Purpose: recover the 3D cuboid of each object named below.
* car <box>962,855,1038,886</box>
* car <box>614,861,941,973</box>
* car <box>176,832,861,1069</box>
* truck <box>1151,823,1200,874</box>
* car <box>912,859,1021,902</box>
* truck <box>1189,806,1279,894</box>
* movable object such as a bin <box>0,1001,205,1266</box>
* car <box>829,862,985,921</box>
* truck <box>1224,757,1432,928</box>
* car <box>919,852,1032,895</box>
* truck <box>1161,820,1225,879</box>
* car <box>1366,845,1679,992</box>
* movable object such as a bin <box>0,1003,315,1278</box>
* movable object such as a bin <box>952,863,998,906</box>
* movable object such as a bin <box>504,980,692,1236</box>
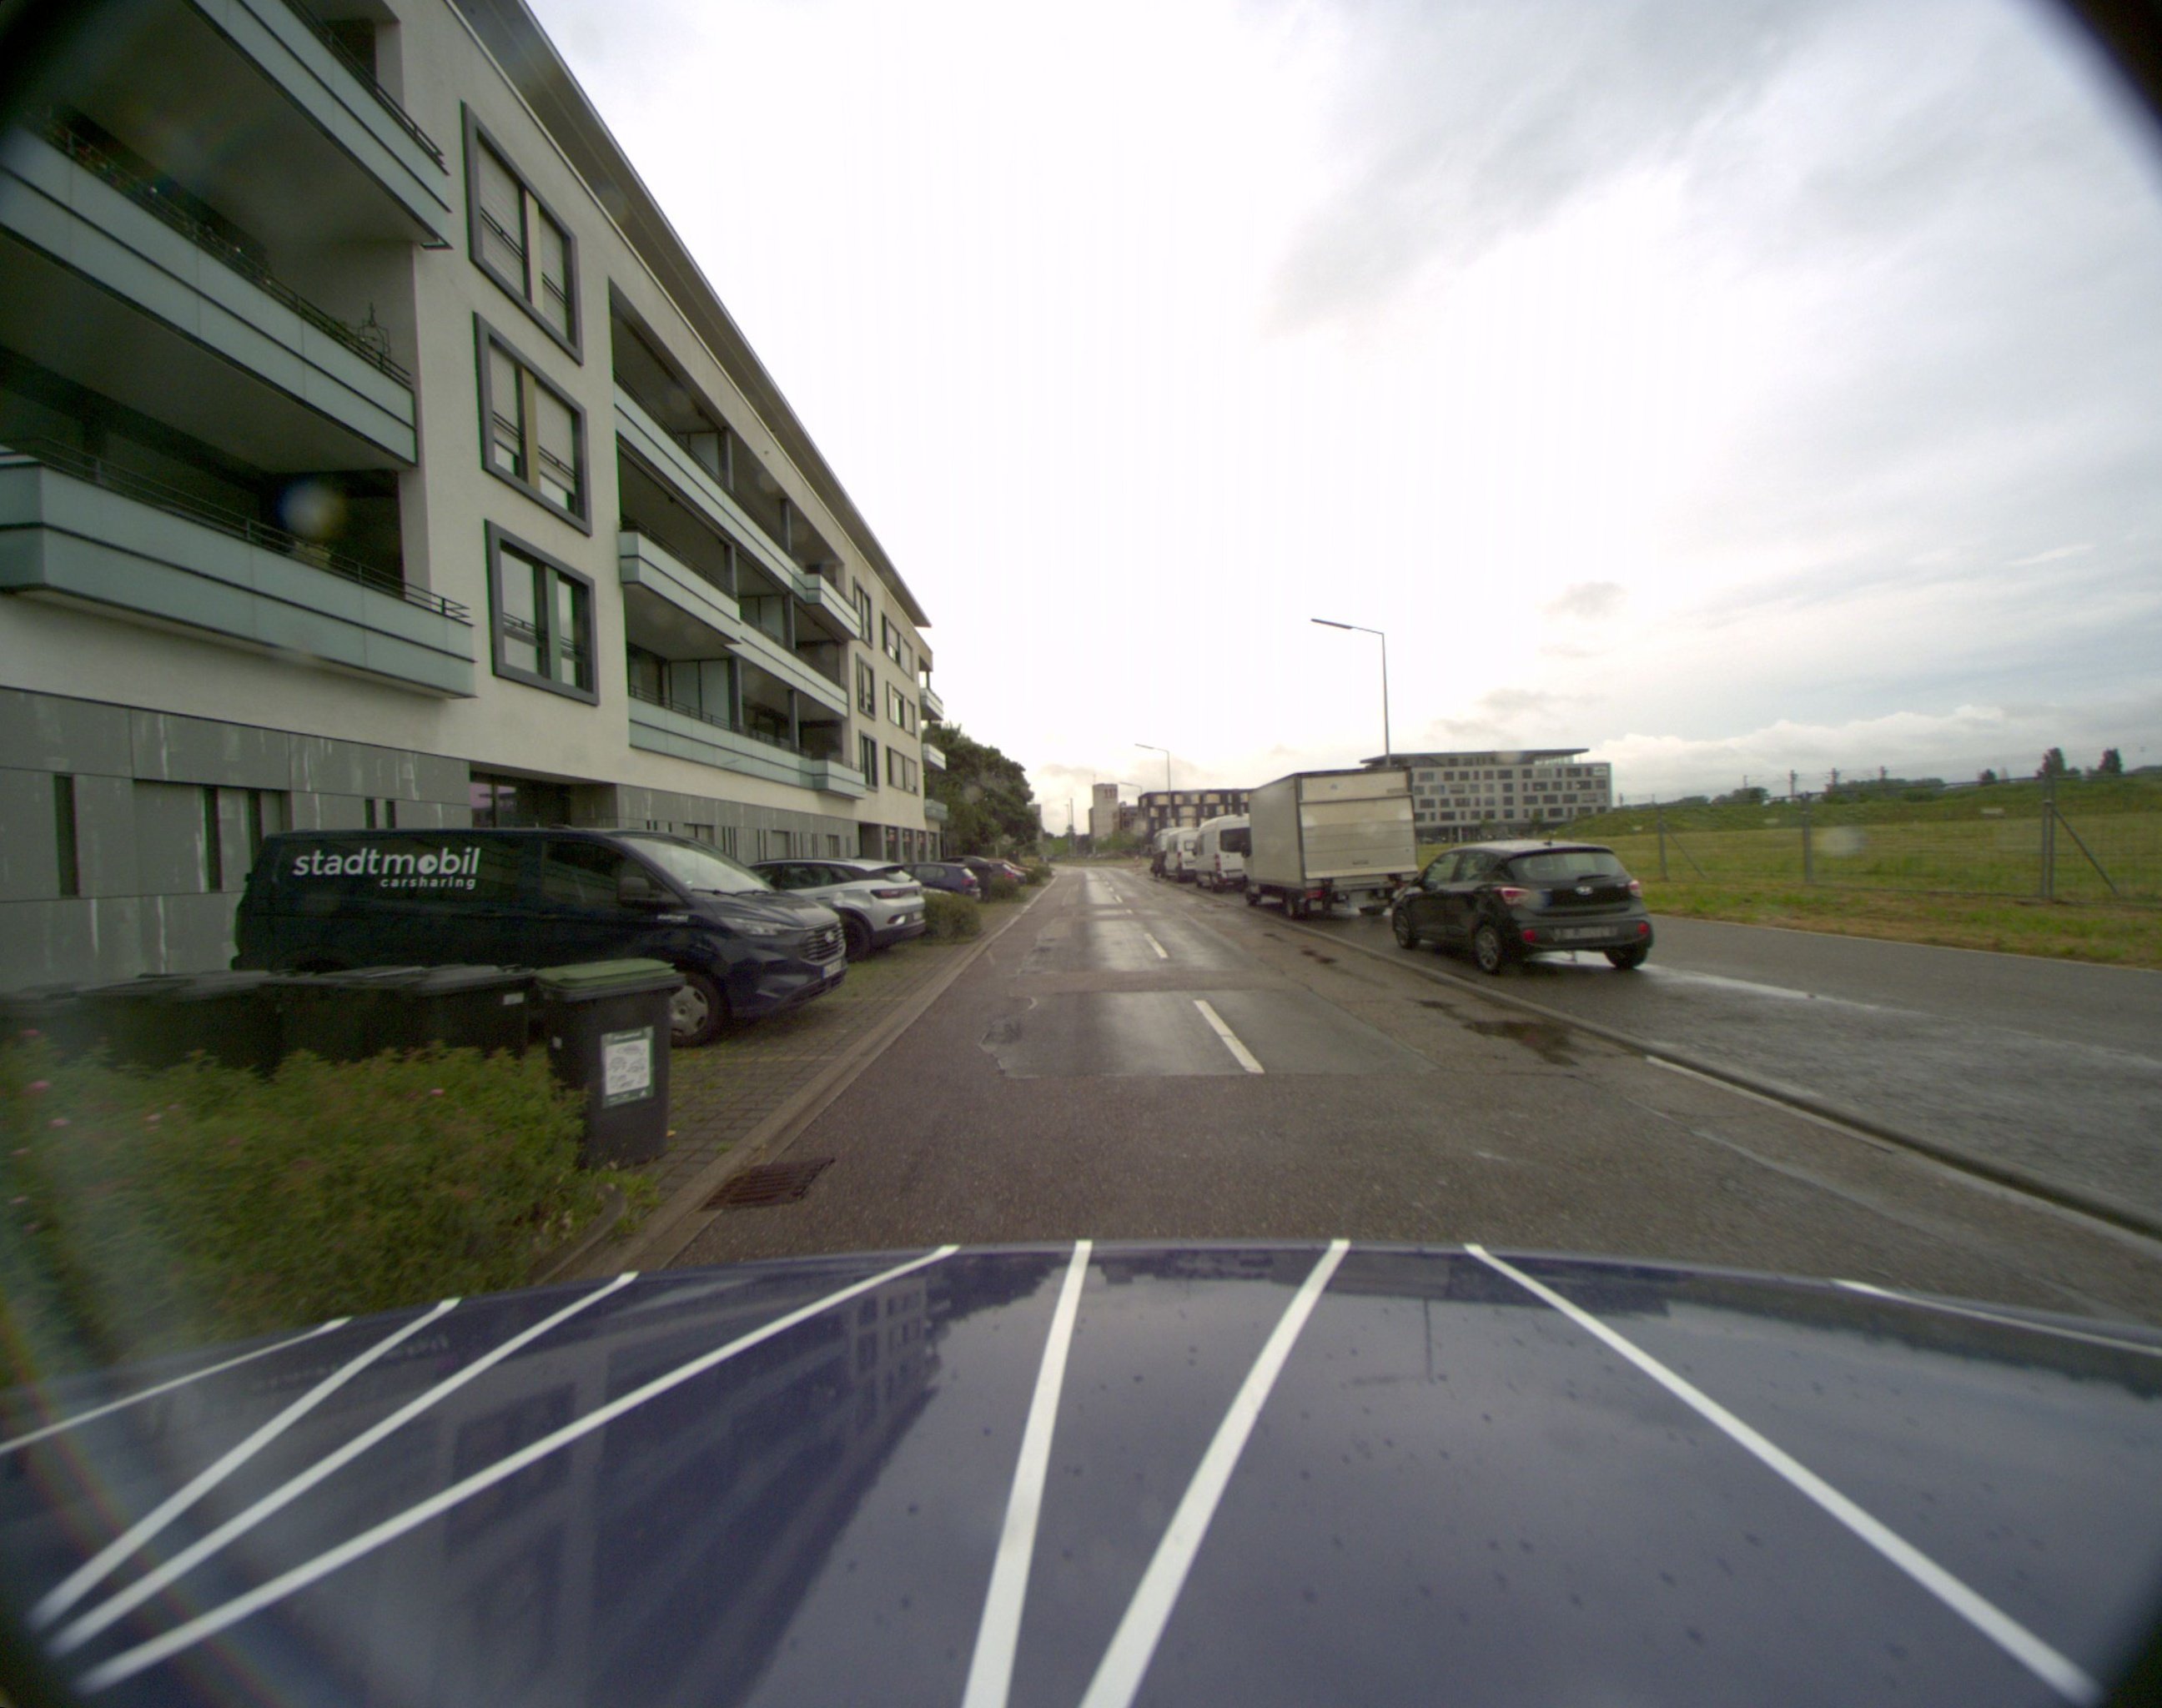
[{"bbox_3d":[-4.468,0.890,42.251,3.997,1.478,1.786,-3,1,0],"label":"car"},{"bbox_3d":[-4.739,0.961,12.332,4.428,1.592,2.083,-1,1,5],"label":"car"},{"bbox_3d":[-4.954,0.796,7.304,5.062,1.917,1.982,-1,1,0],"label":"car"},{"bbox_3d":[5.502,-0.326,44.942,2.180,2.730,5.289,-3,0,0],"label":"truck"},{"bbox_3d":[-4.485,1.030,30.223,3.997,1.478,1.786,-3,1,0],"label":"car"},{"bbox_3d":[5.533,-0.147,28.462,2.046,2.750,6.737,-4,0,2],"label":"truck"},{"bbox_3d":[-5.126,1.340,3.772,0.540,1.040,0.817,-3,1,2],"label":"movable object such as a bin"},{"bbox_3d":[-4.991,1.064,22.196,4.100,1.469,1.711,-3,1,0],"label":"car"},{"bbox_3d":[5.283,-0.238,17.628,2.442,3.050,6.699,-4,0,0],"label":"truck"},{"bbox_3d":[-4.745,0.858,34.535,4.796,1.654,1.867,-3,1,0],"label":"car"},{"bbox_3d":[5.455,-0.207,37.817,2.180,2.591,6.131,-3,0,0],"label":"truck"},{"bbox_3d":[5.373,0.657,9.977,1.677,1.454,4.156,-3,0,0],"label":"car"},{"bbox_3d":[-4.513,1.350,3.764,0.540,1.040,0.817,-3,1,2],"label":"movable object such as a bin"},{"bbox_3d":[-3.594,1.022,25.803,1.352,1.330,0.976,-4,1,0],"label":"movable object such as a bin"},{"bbox_3d":[-2.519,1.246,3.955,0.815,1.040,0.541,-2,1,39],"label":"movable object such as a bin"}]
